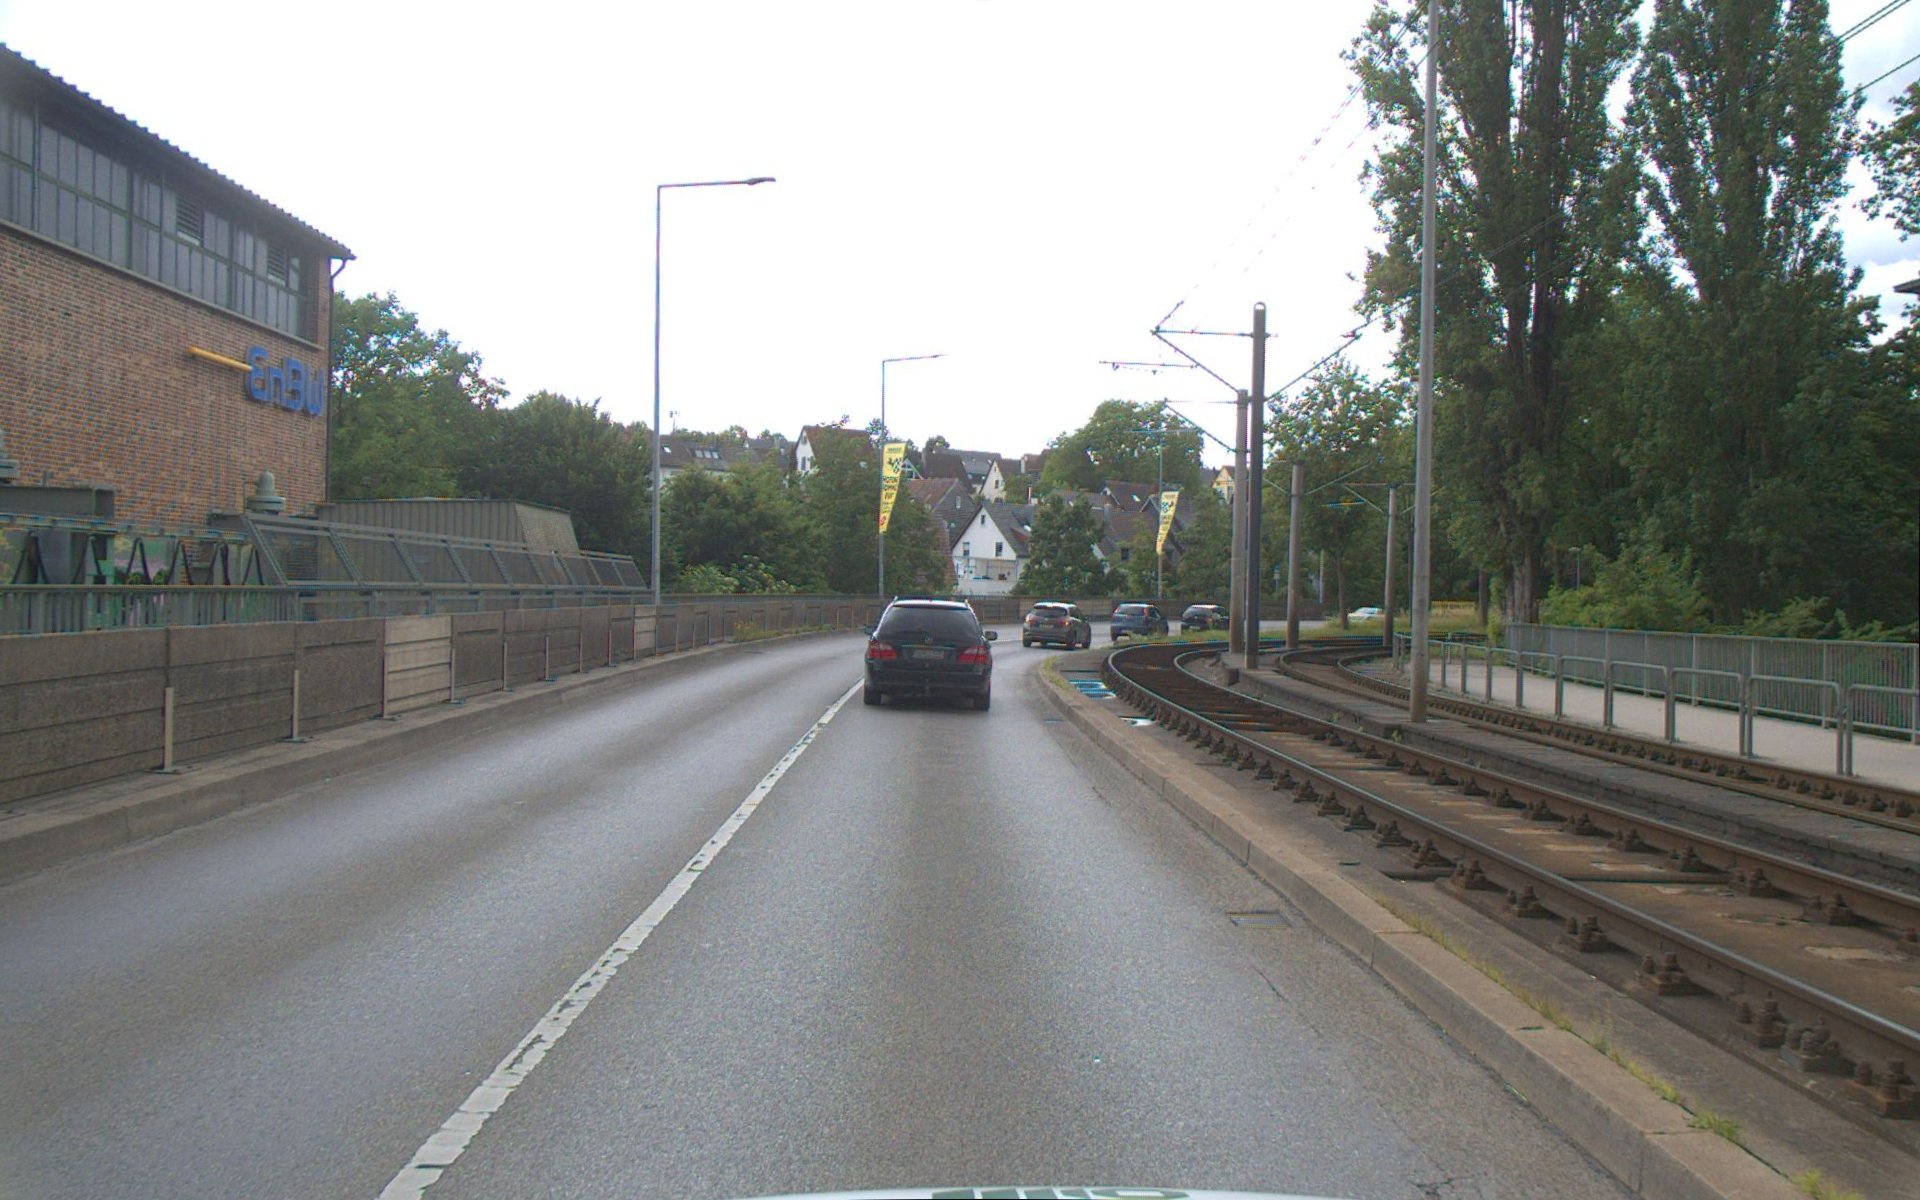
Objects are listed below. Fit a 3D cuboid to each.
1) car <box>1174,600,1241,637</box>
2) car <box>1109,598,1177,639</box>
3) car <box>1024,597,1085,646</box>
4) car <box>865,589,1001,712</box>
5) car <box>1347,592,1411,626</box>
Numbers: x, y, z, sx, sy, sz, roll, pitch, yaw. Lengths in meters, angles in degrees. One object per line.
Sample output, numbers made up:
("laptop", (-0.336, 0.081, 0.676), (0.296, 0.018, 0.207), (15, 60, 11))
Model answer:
("car", (11.247, 0.833, 75.005), (1.736, 1.582, 4.236), (1, 0, 27))
("car", (7.554, 0.729, 67.916), (1.756, 1.582, 4.386), (0, 0, 21))
("car", (3.309, 0.716, 57.112), (1.732, 1.582, 4.244), (0, 1, 8))
("car", (-0.430, 0.654, 24.134), (1.724, 1.542, 4.441), (3, 0, -2))
("car", (23.155, 0.498, 91.360), (1.772, 1.741, 3.963), (0, 1, 43))
